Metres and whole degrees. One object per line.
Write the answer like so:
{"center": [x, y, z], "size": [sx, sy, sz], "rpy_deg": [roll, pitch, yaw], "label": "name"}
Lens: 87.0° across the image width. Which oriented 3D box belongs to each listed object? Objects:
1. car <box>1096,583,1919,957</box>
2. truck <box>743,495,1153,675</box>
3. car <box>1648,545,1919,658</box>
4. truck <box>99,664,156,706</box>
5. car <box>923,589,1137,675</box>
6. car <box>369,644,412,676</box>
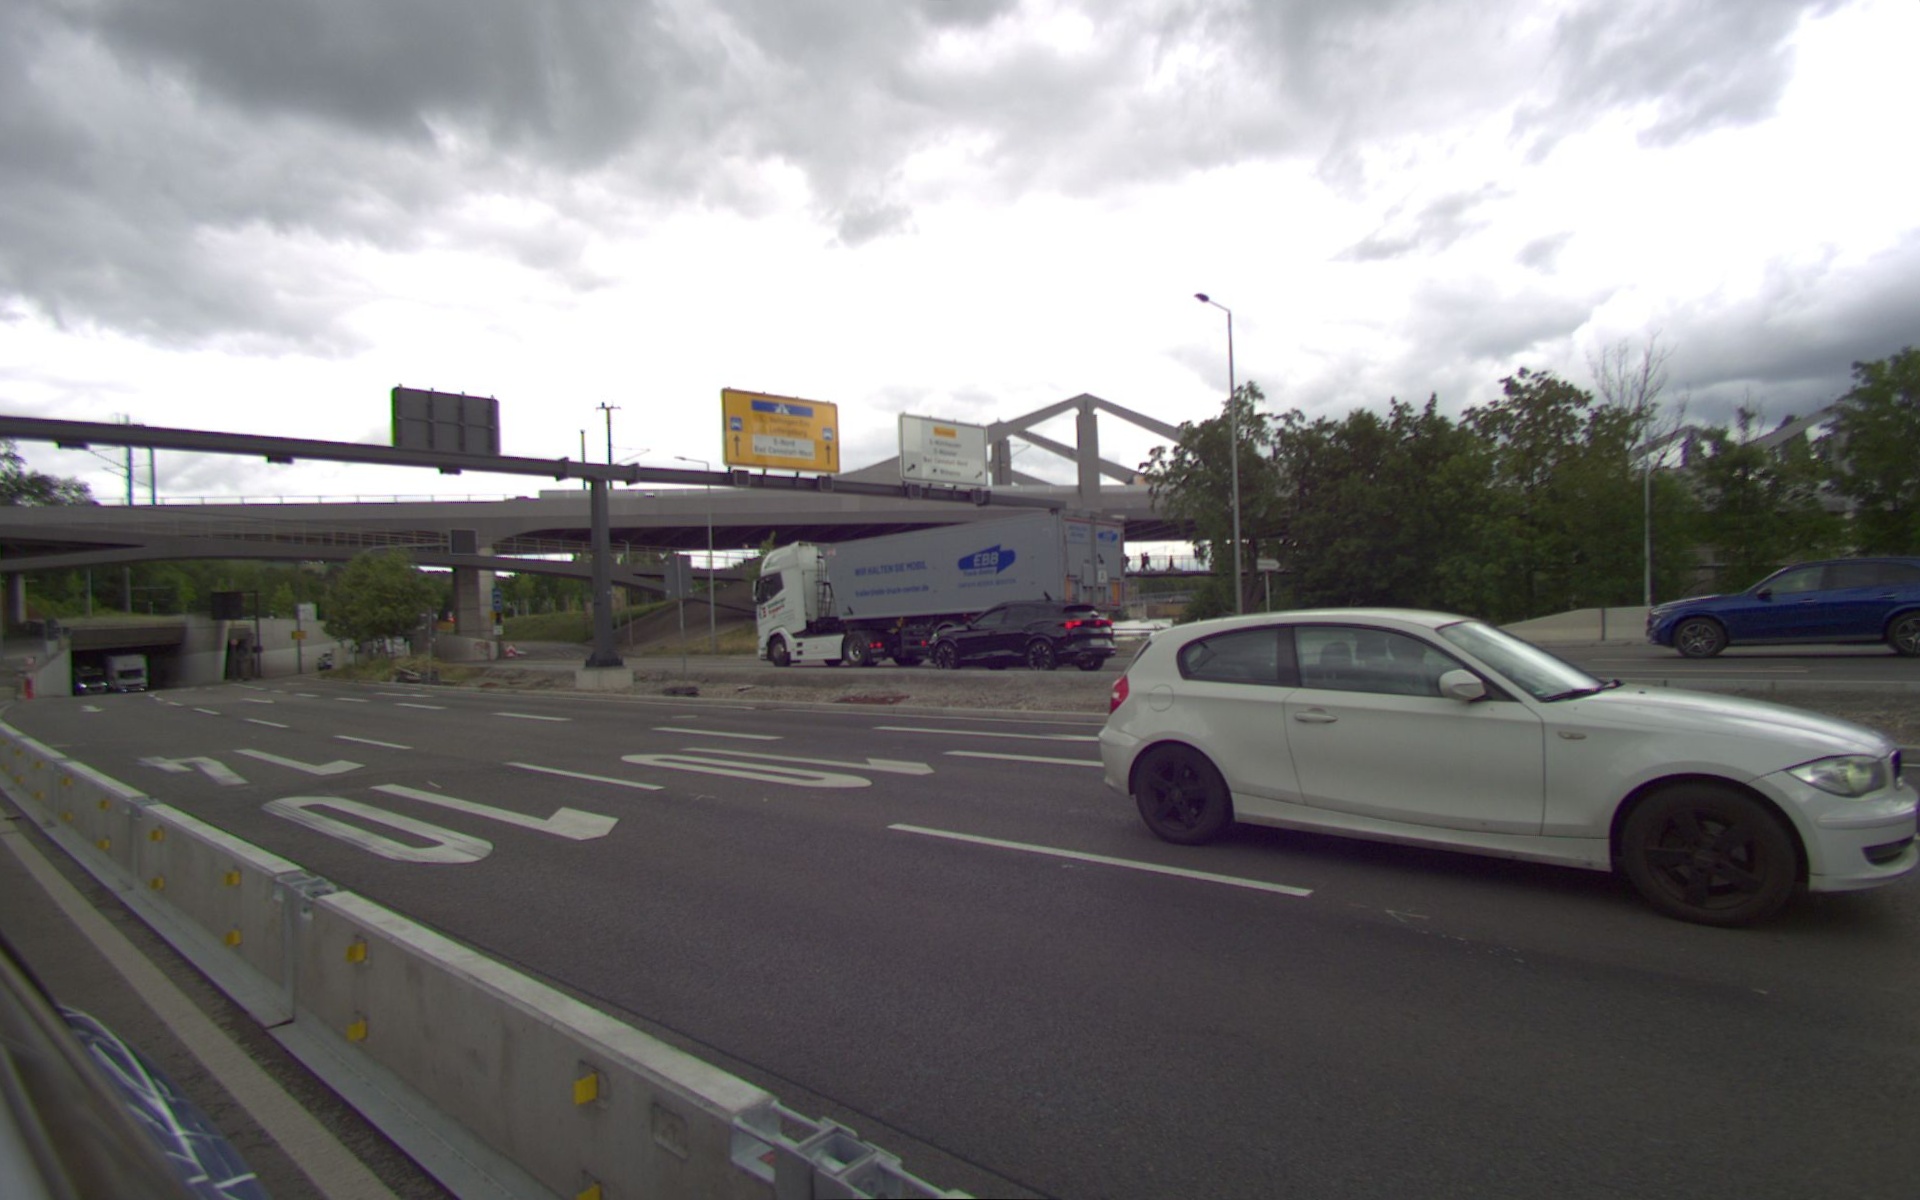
{"center": [2.899, 0.730, 5.791], "size": [3.982, 1.444, 1.620], "rpy_deg": [-3, -2, 43], "label": "car"}
{"center": [-1.153, -0.025, 29.744], "size": [13.993, 4.092, 2.866], "rpy_deg": [-5, -3, 45], "label": "truck"}
{"center": [14.615, 0.034, 17.293], "size": [4.484, 1.696, 1.867], "rpy_deg": [-4, -1, 40], "label": "car"}
{"center": [-70.653, 7.154, 85.802], "size": [8.121, 3.150, 2.711], "rpy_deg": [-4, 0, 44], "label": "truck"}
{"center": [1.380, 0.747, 21.459], "size": [4.452, 1.633, 1.687], "rpy_deg": [-4, -5, 43], "label": "car"}
{"center": [-37.941, 4.037, 67.383], "size": [1.803, 1.820, 3.808], "rpy_deg": [-5, -2, -39], "label": "car"}
